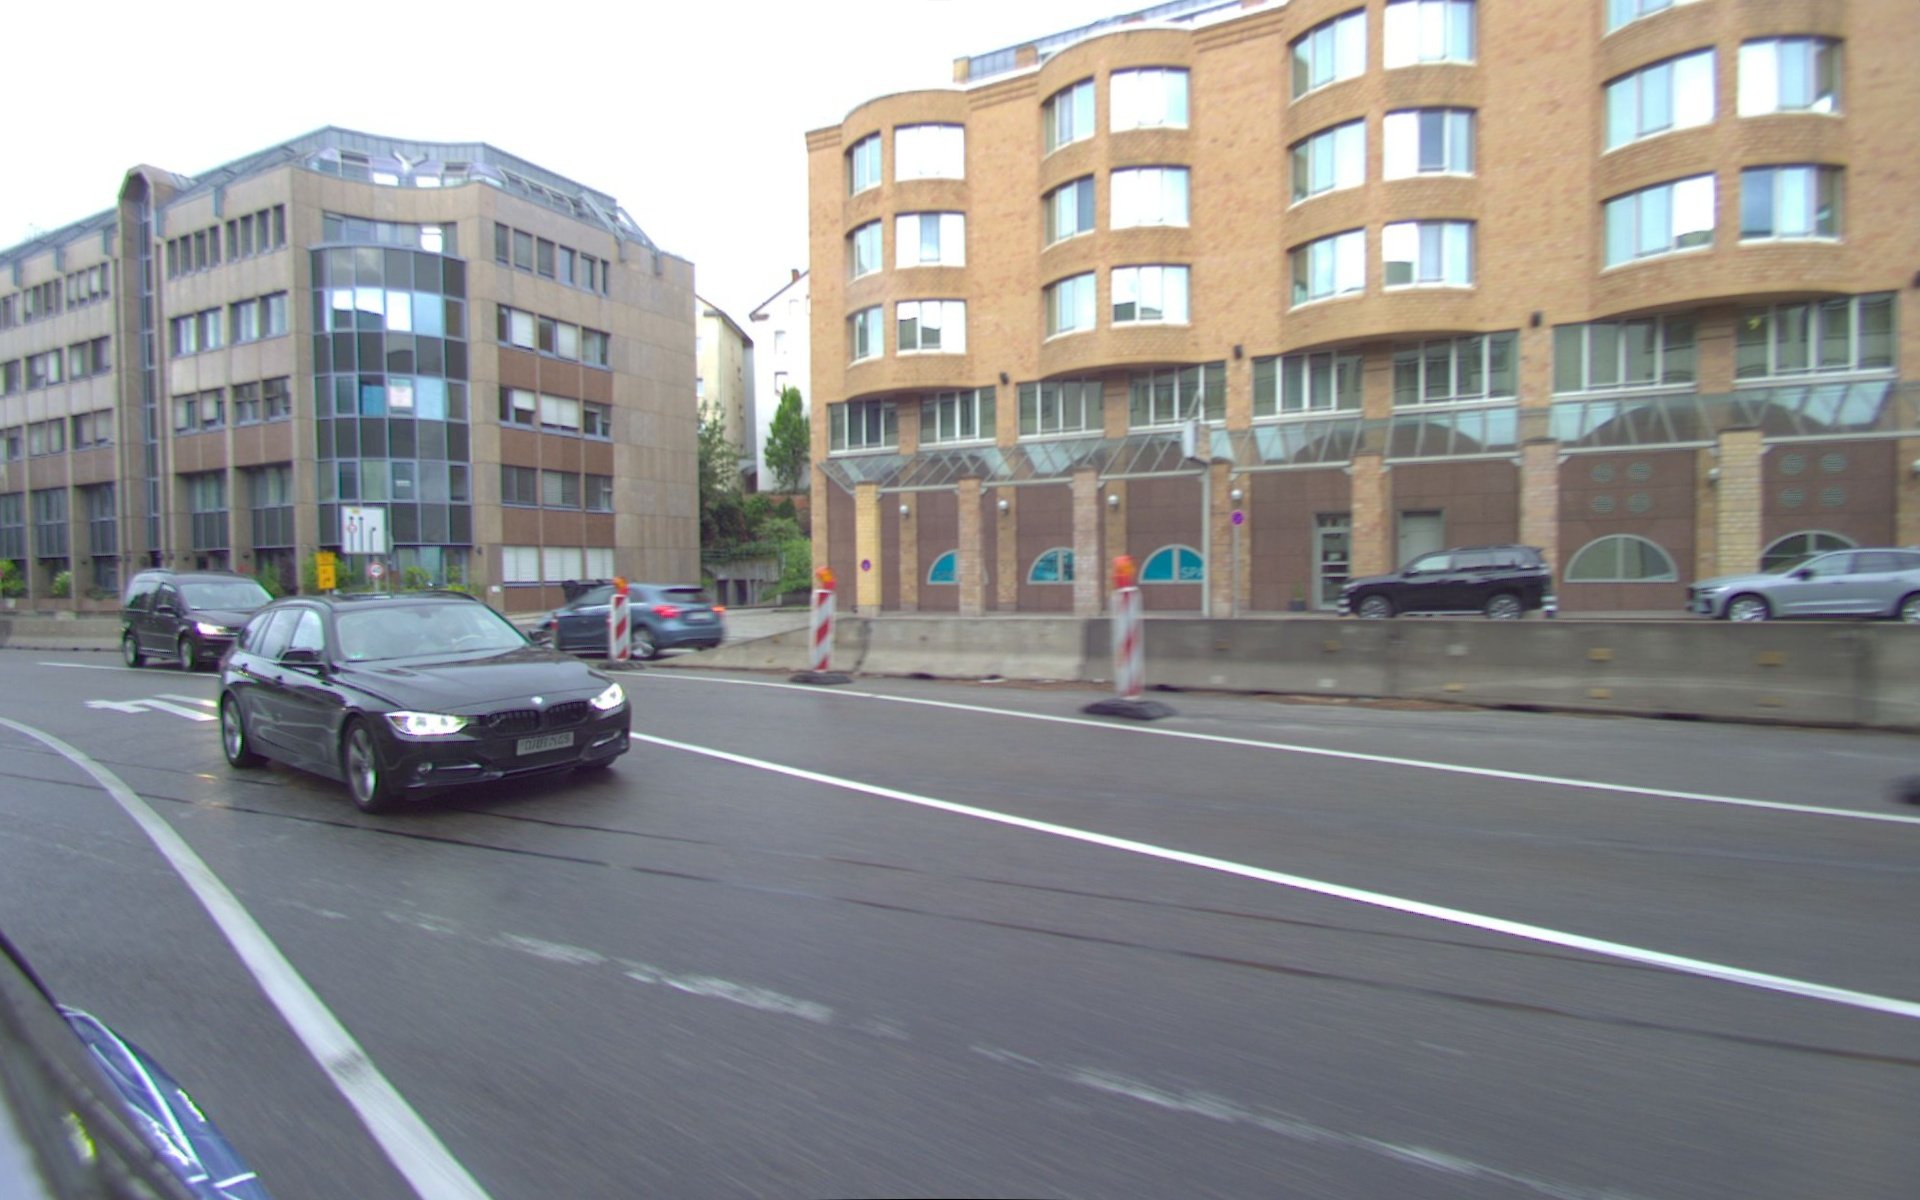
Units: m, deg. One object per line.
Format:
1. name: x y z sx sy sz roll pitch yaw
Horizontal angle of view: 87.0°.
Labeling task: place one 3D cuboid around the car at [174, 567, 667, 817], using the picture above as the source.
1. car: -4.490 0.535 8.076 4.650 1.454 1.751 -1 2 39

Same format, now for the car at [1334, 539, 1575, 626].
1. car: 11.730 -0.396 24.302 4.987 1.900 1.983 -1 1 26

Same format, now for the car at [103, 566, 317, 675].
1. car: -13.987 0.336 18.818 4.237 1.814 1.780 -1 2 33

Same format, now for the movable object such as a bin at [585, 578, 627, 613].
1. movable object such as a bin: -15.839 -0.204 45.287 1.347 1.491 1.232 -1 1 35

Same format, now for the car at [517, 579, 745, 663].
1. car: -6.476 0.374 19.850 4.213 1.470 1.979 -1 1 31

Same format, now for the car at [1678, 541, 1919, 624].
1. car: 18.072 -0.358 21.304 4.516 1.605 1.983 -1 1 26

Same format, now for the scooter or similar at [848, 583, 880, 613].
1. scooter or similar: -3.491 -0.074 36.906 1.036 1.071 0.448 -1 1 17

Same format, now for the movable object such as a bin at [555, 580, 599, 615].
1. movable object such as a bin: -16.615 -0.101 43.882 1.347 1.491 1.232 -1 1 35
